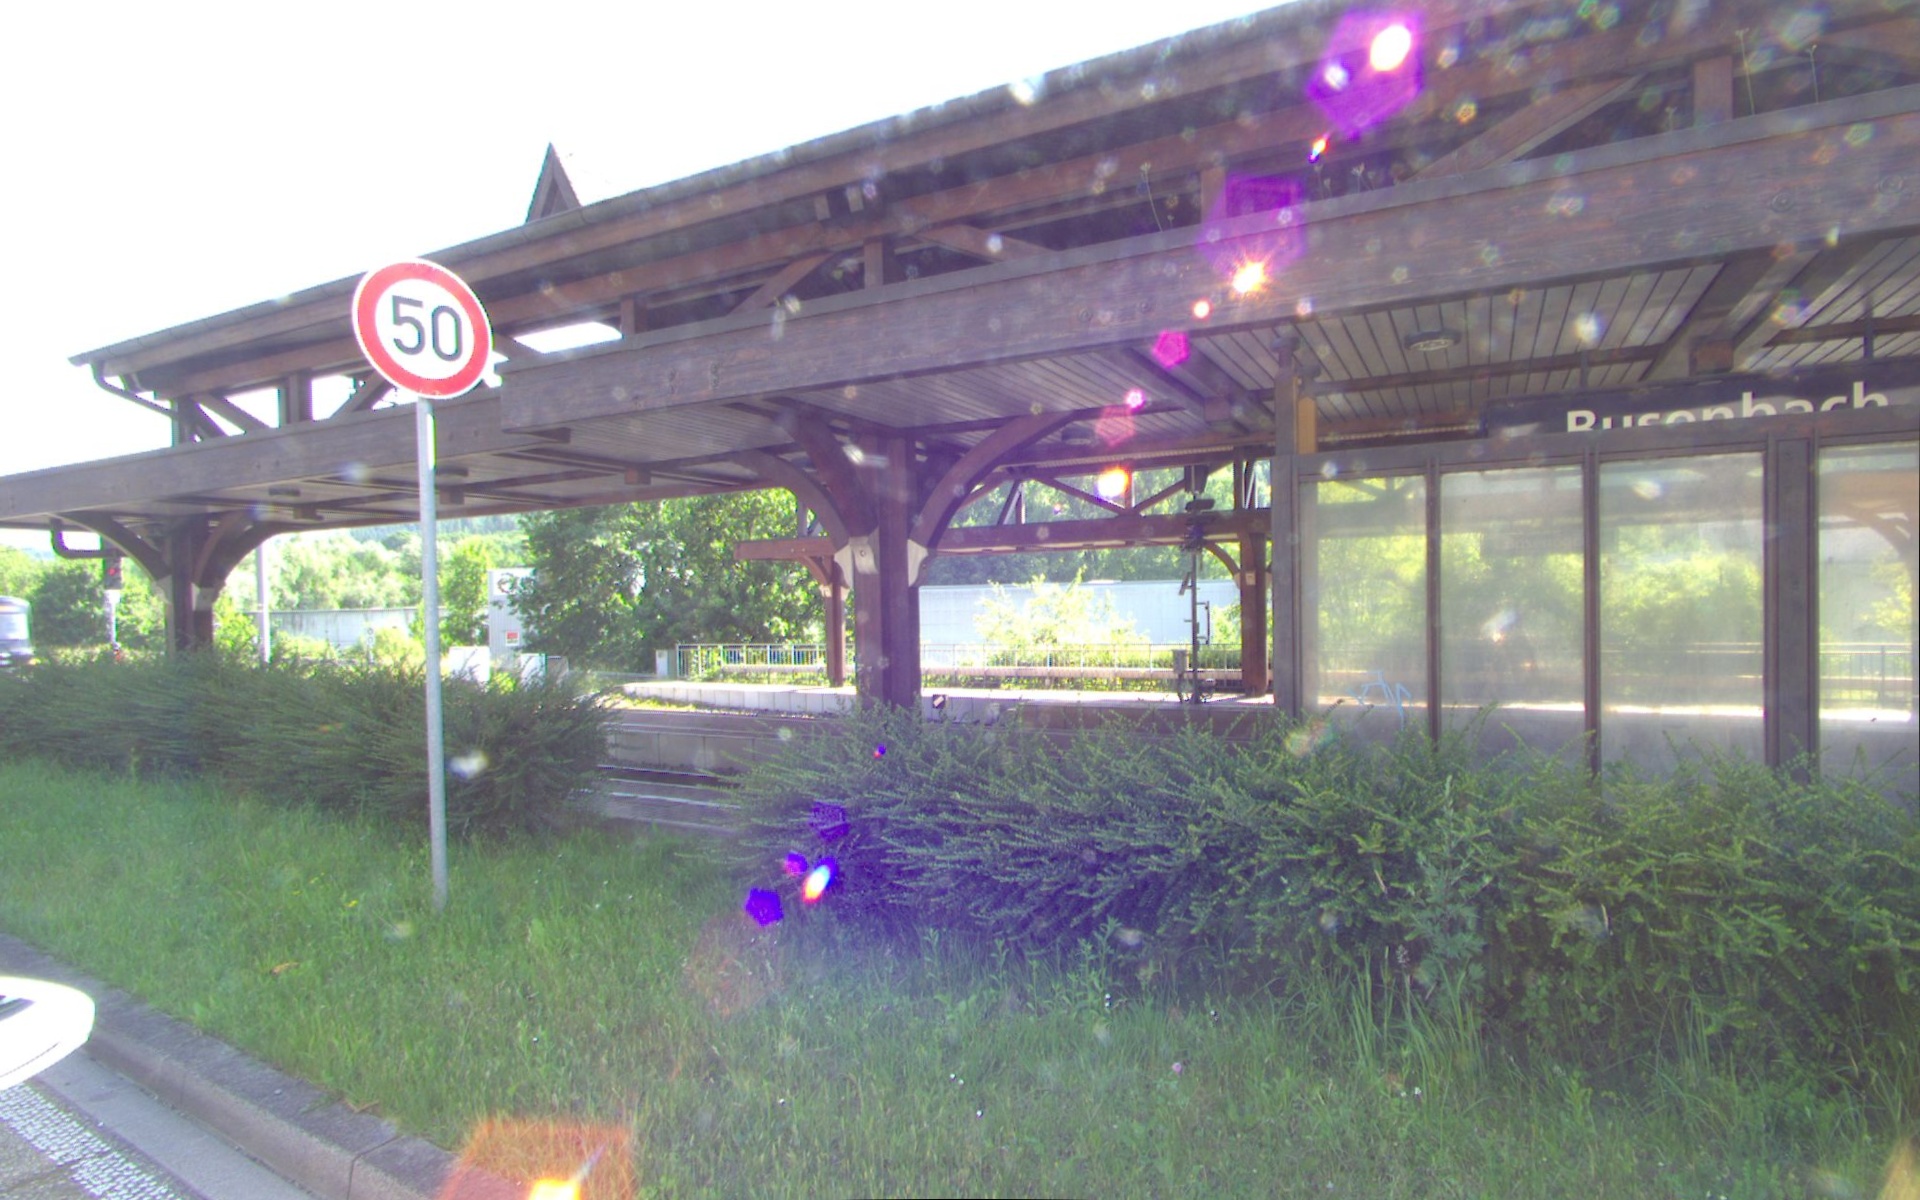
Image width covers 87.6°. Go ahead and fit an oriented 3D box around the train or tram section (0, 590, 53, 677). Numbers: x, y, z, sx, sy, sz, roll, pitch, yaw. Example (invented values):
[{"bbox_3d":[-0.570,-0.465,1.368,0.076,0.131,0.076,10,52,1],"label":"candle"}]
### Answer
[{"bbox_3d":[-43.541,1.386,42.984,14.143,3.408,2.852,-1,-1,31],"label":"train or tram section"}]
